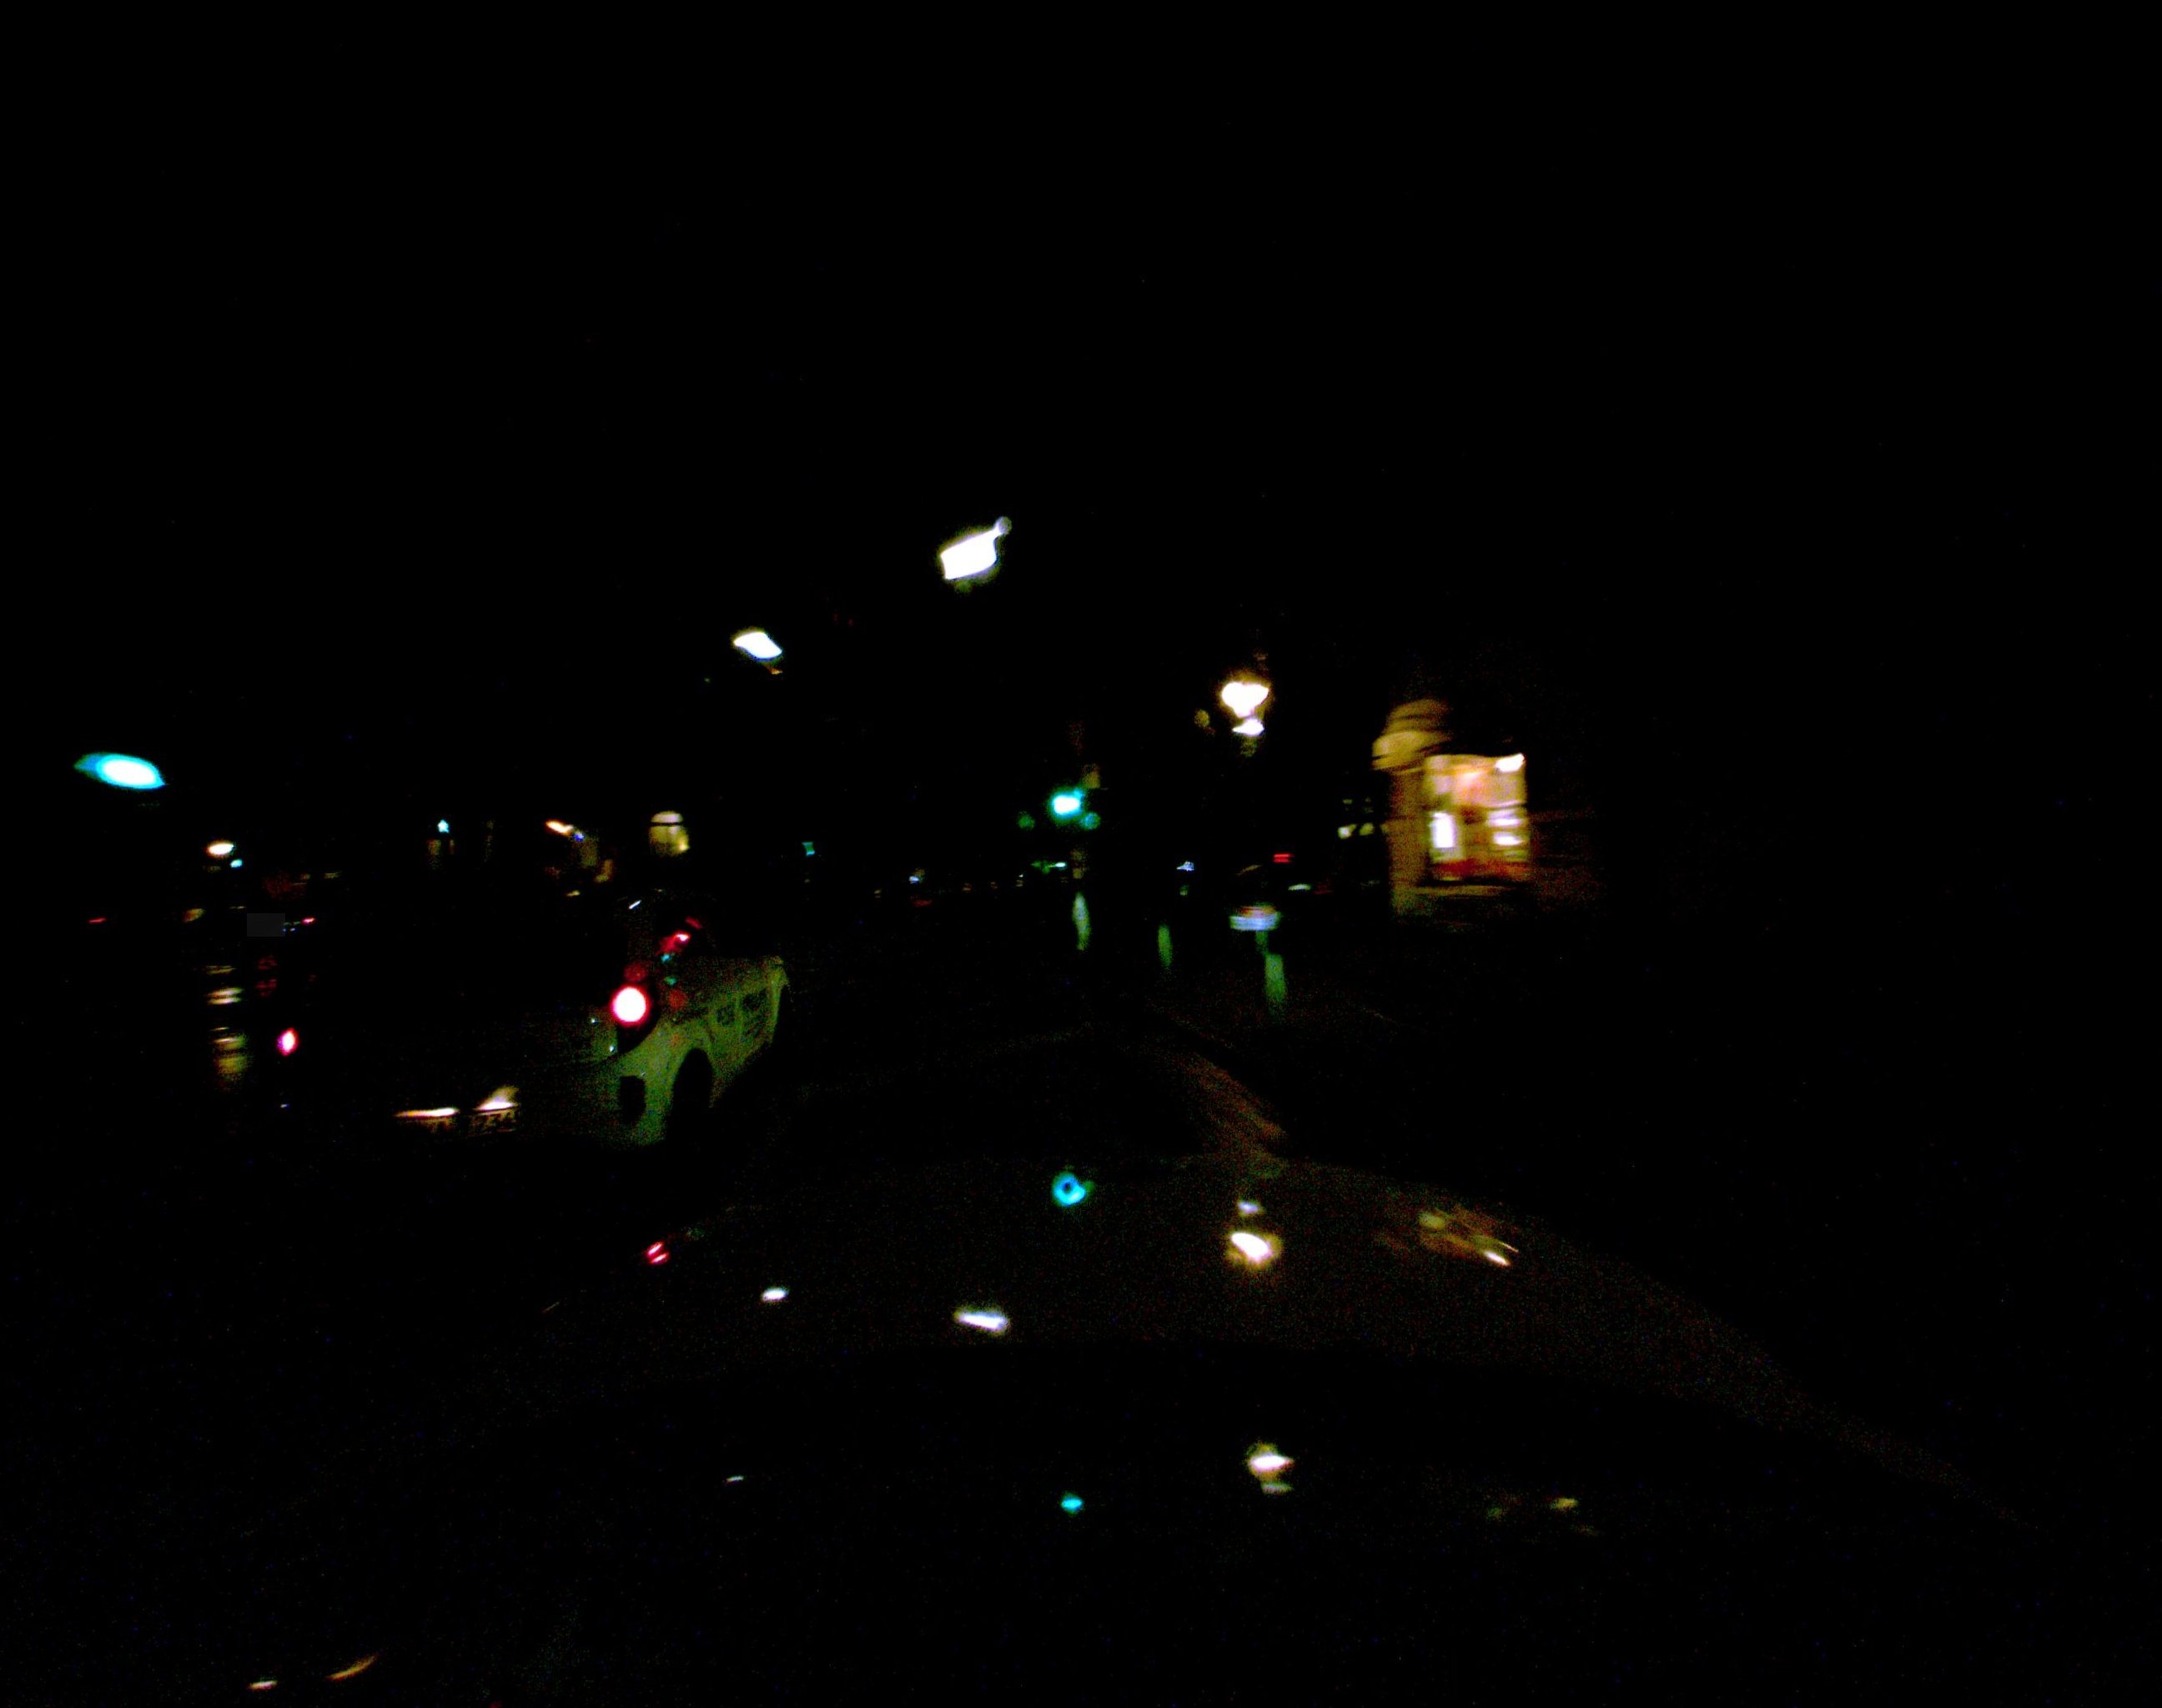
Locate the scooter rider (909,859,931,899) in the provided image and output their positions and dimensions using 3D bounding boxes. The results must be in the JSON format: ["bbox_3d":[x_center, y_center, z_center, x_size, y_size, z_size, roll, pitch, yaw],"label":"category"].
[{"bbox_3d":[-6.569,1.017,33.177,0.655,1.573,0.635,-1,0,-38],"label":"scooter rider"}]

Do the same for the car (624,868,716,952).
[{"bbox_3d":[-9.613,1.218,19.267,1.757,1.739,3.768,-1,-1,-25],"label":"car"}]

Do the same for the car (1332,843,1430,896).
[{"bbox_3d":[9.943,0.476,26.825,1.629,1.442,4.081,-8,-4,40],"label":"car"}]

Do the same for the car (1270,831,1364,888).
[{"bbox_3d":[11.009,0.187,37.710,2.195,2.441,5.419,-2,0,39],"label":"car"}]

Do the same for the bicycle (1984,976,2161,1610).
[{"bbox_3d":[2.757,0.703,1.285,1.963,1.006,0.642,-3,-1,-2],"label":"bicycle"}]

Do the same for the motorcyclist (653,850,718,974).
[{"bbox_3d":[-5.702,0.797,11.726,0.794,1.695,0.812,-1,-1,-29],"label":"motorcyclist"}]

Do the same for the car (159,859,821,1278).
[{"bbox_3d":[-2.937,0.855,5.141,1.919,1.516,3.586,-3,1,-10],"label":"car"}]

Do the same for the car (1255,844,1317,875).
[{"bbox_3d":[14.165,0.332,56.114,1.974,1.825,5.343,1,3,40],"label":"car"}]

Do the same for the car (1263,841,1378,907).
[{"bbox_3d":[6.766,0.530,22.787,1.631,1.525,3.603,-8,-4,40],"label":"car"}]

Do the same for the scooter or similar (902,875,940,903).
[{"bbox_3d":[-6.507,1.413,33.227,1.376,1.052,0.635,-1,0,-38],"label":"scooter or similar"}]

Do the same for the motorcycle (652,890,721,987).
[{"bbox_3d":[-5.777,1.158,11.847,0.794,1.213,2.229,-1,-1,-29],"label":"motorcycle"}]

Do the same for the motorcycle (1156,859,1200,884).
[{"bbox_3d":[5.336,0.982,44.975,2.309,1.230,0.710,-4,-2,1],"label":"motorcycle"}]

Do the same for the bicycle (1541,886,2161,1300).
[{"bbox_3d":[2.671,0.682,2.648,1.963,1.035,0.642,-3,-1,-2],"label":"bicycle"}]

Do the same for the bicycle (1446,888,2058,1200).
[{"bbox_3d":[2.636,0.706,3.329,1.963,1.006,0.642,-3,-1,-2],"label":"bicycle"}]

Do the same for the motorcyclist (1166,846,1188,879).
[{"bbox_3d":[5.304,0.464,45.000,1.021,1.731,0.710,-4,-2,1],"label":"motorcyclist"}]
